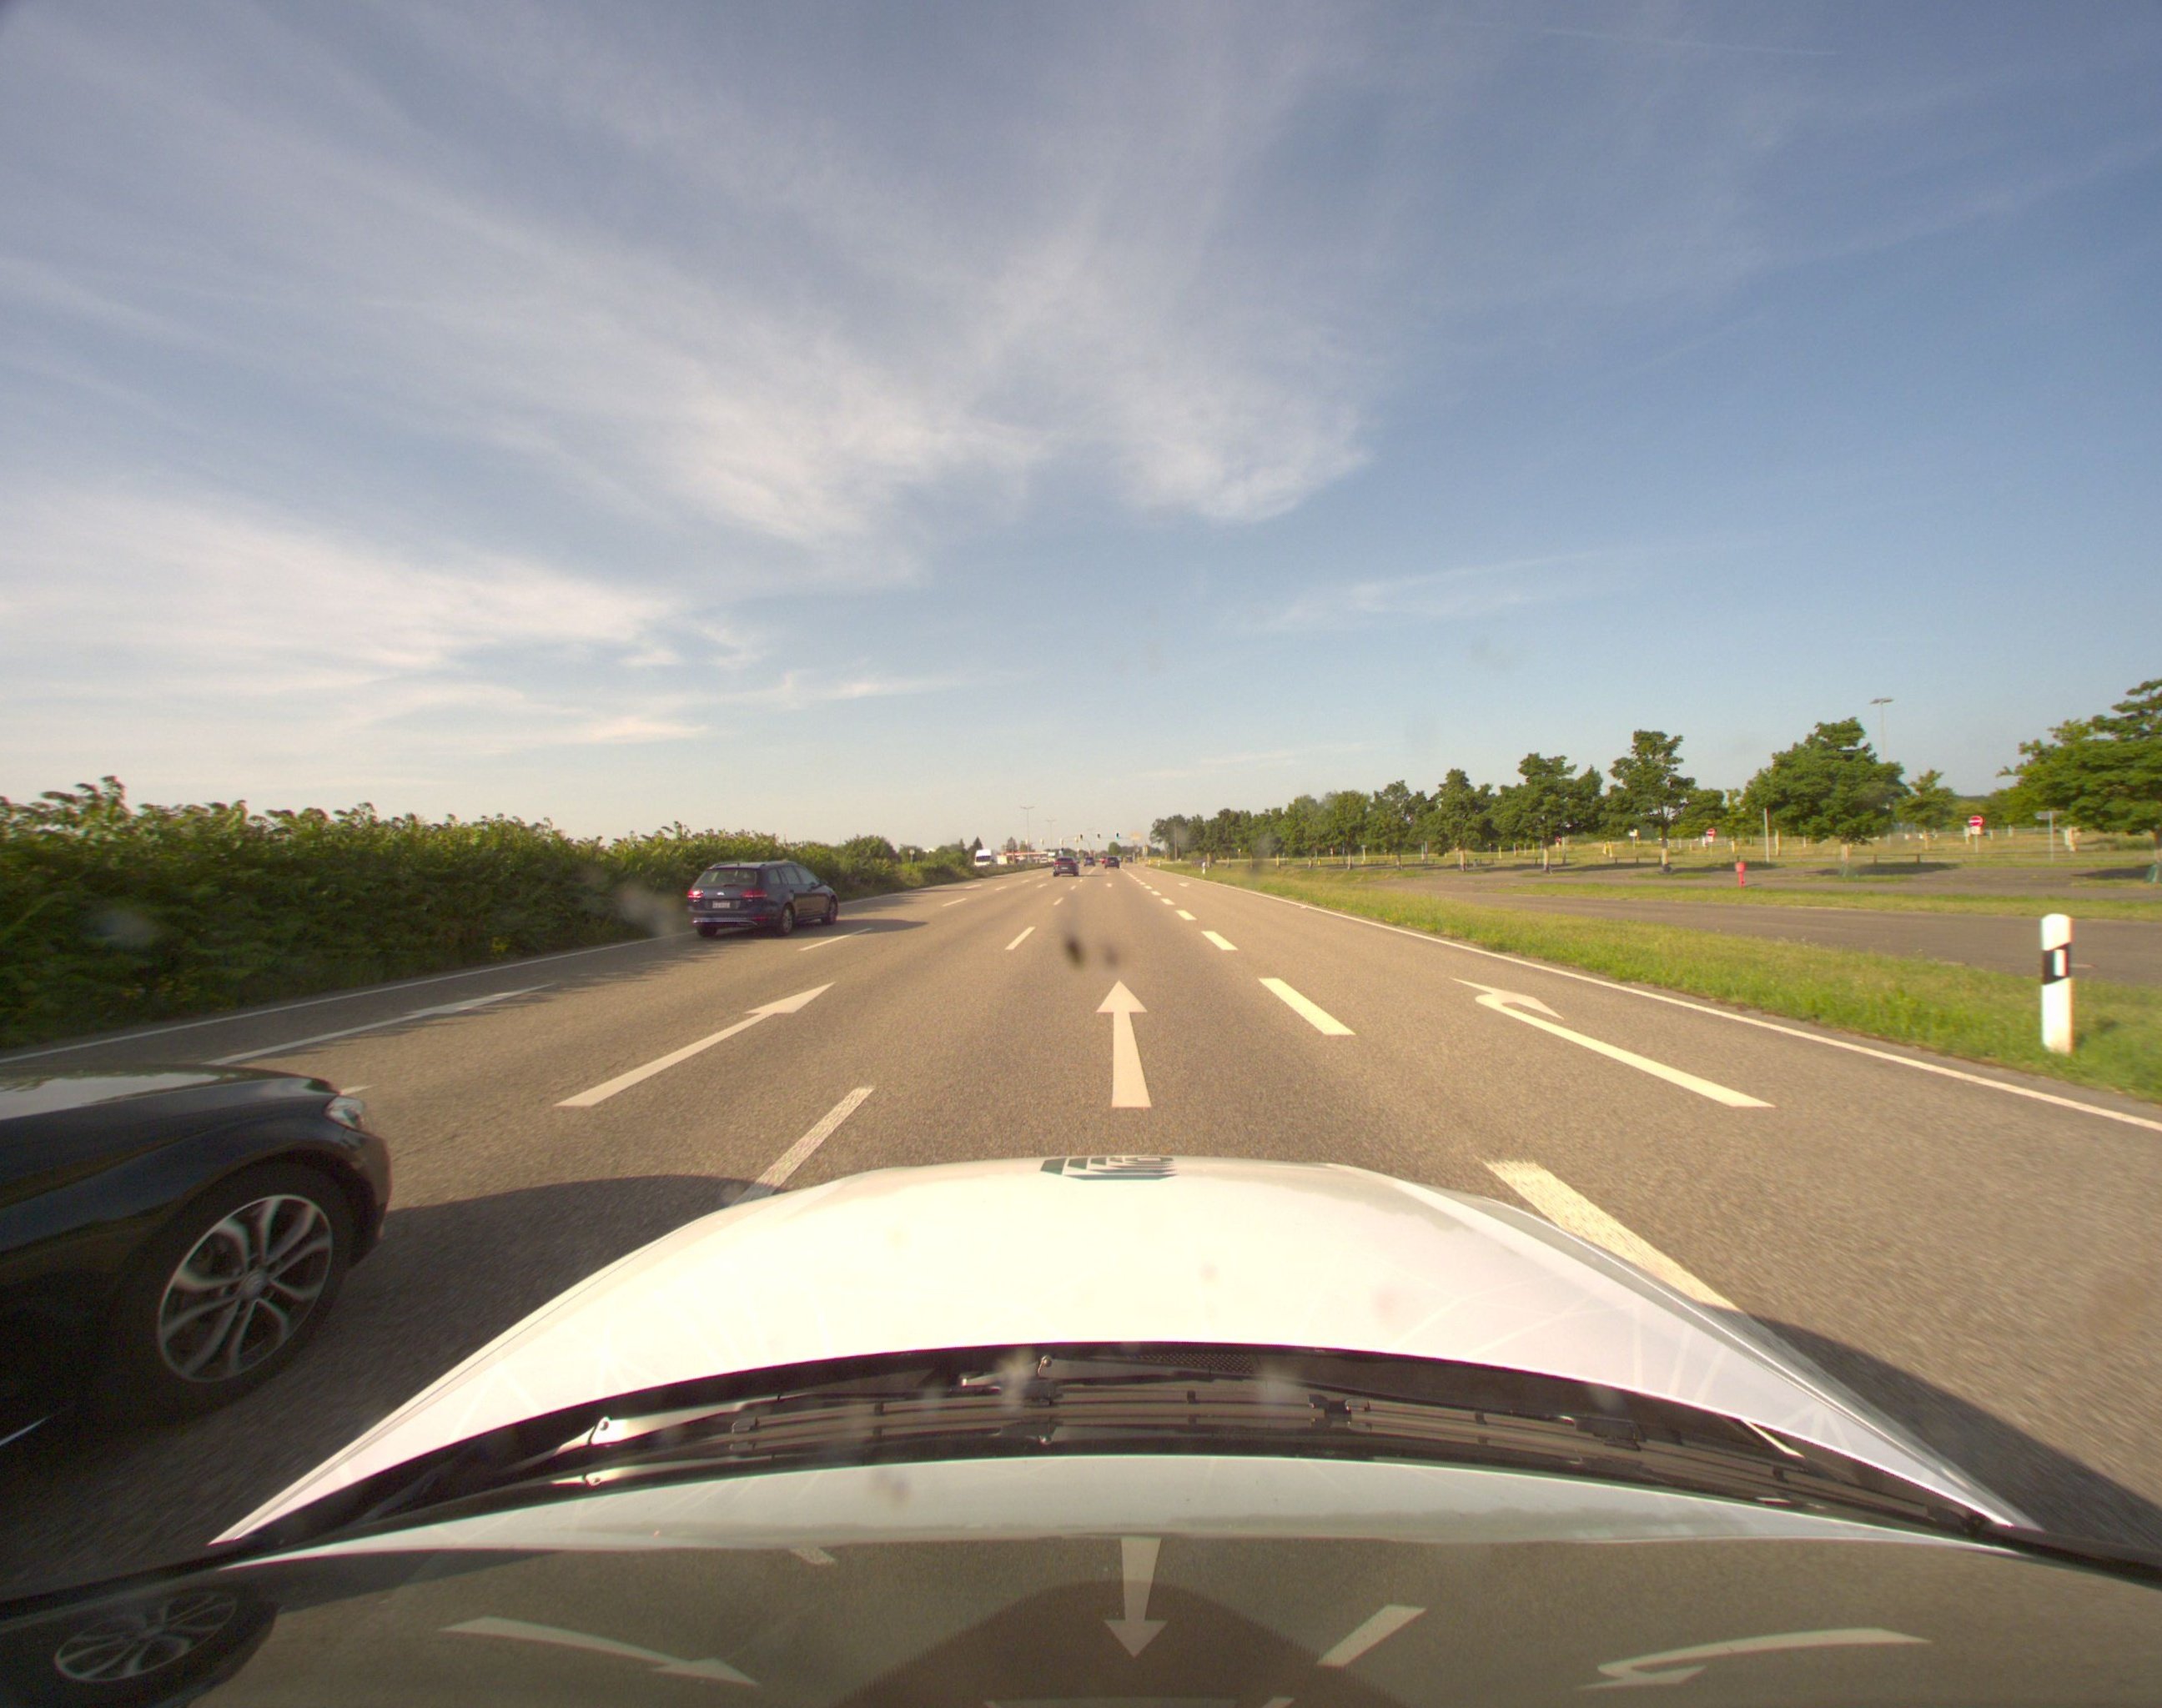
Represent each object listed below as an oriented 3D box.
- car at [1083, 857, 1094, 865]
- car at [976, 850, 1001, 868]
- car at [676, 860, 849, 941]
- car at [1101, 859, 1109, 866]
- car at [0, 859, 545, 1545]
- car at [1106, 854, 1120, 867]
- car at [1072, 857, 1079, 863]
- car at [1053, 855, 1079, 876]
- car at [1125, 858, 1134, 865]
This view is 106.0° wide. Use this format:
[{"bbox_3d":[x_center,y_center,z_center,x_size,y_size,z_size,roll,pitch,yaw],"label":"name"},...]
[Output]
[{"bbox_3d":[1.270,1.195,140.311,1.806,1.463,4.402,0,0,2],"label":"car"},{"bbox_3d":[-10.948,0.656,96.970,2.154,2.035,6.324,0,-1,1],"label":"car"},{"bbox_3d":[-6.485,0.890,17.217,1.640,1.471,4.778,-1,-1,2],"label":"car"},{"bbox_3d":[5.034,1.796,170.637,1.641,1.463,3.982,0,0,2],"label":"car"},{"bbox_3d":[-3.157,0.770,0.955,1.567,1.471,5.024,-1,0,2],"label":"car"},{"bbox_3d":[4.315,0.905,109.743,1.925,1.680,4.402,0,0,2],"label":"car"},{"bbox_3d":[-1.371,1.458,196.934,1.594,1.532,4.002,0,0,2],"label":"car"},{"bbox_3d":[-1.172,0.883,64.947,1.839,1.612,4.402,0,0,2],"label":"car"},{"bbox_3d":[11.278,1.707,189.557,1.940,1.636,3.447,0,-1,0],"label":"car"}]
